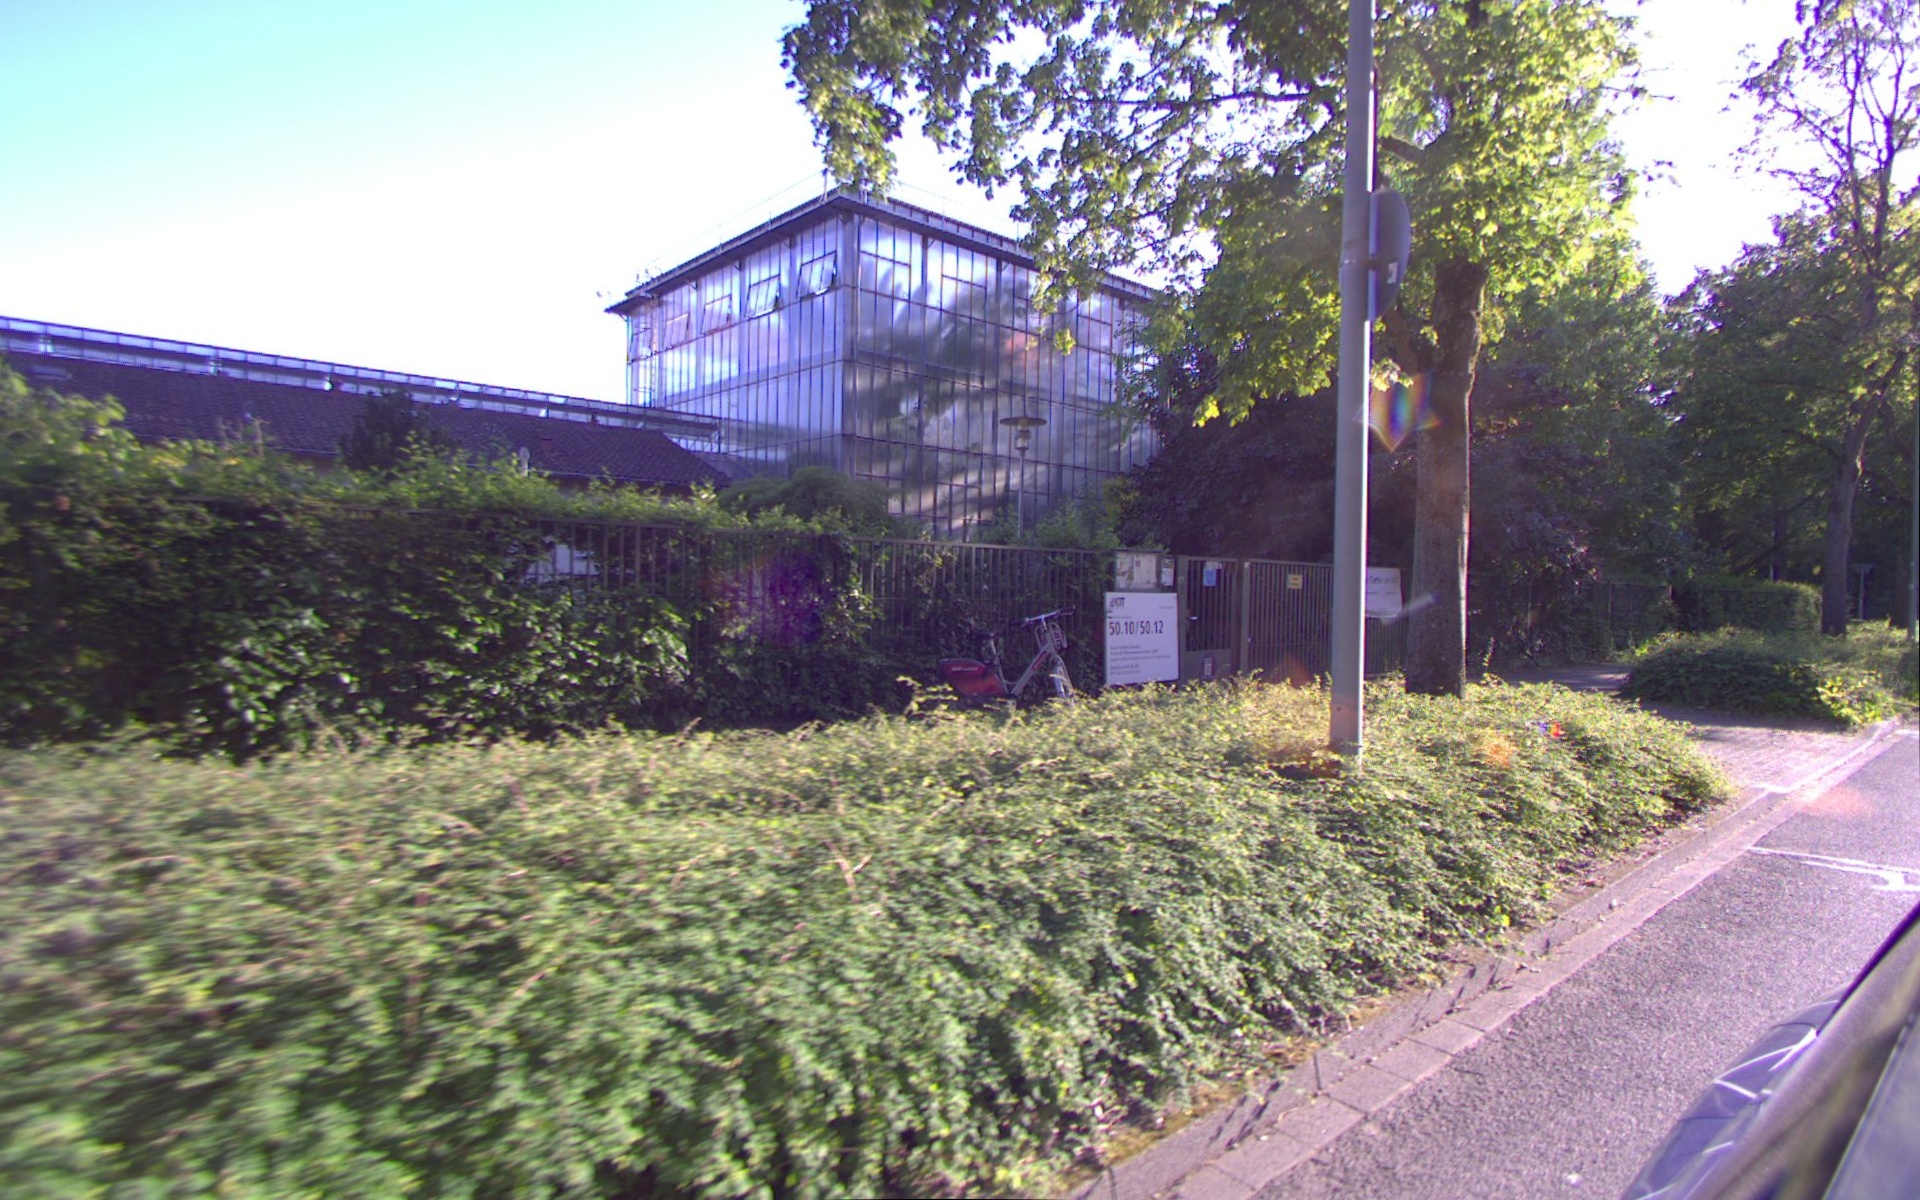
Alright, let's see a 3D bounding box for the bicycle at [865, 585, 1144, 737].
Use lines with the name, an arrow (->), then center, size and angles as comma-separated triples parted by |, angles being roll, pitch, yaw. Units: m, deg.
bicycle -> 0.377, 0.528, 9.034 | 2.277, 1.215, 0.889 | 2, 2, -16
